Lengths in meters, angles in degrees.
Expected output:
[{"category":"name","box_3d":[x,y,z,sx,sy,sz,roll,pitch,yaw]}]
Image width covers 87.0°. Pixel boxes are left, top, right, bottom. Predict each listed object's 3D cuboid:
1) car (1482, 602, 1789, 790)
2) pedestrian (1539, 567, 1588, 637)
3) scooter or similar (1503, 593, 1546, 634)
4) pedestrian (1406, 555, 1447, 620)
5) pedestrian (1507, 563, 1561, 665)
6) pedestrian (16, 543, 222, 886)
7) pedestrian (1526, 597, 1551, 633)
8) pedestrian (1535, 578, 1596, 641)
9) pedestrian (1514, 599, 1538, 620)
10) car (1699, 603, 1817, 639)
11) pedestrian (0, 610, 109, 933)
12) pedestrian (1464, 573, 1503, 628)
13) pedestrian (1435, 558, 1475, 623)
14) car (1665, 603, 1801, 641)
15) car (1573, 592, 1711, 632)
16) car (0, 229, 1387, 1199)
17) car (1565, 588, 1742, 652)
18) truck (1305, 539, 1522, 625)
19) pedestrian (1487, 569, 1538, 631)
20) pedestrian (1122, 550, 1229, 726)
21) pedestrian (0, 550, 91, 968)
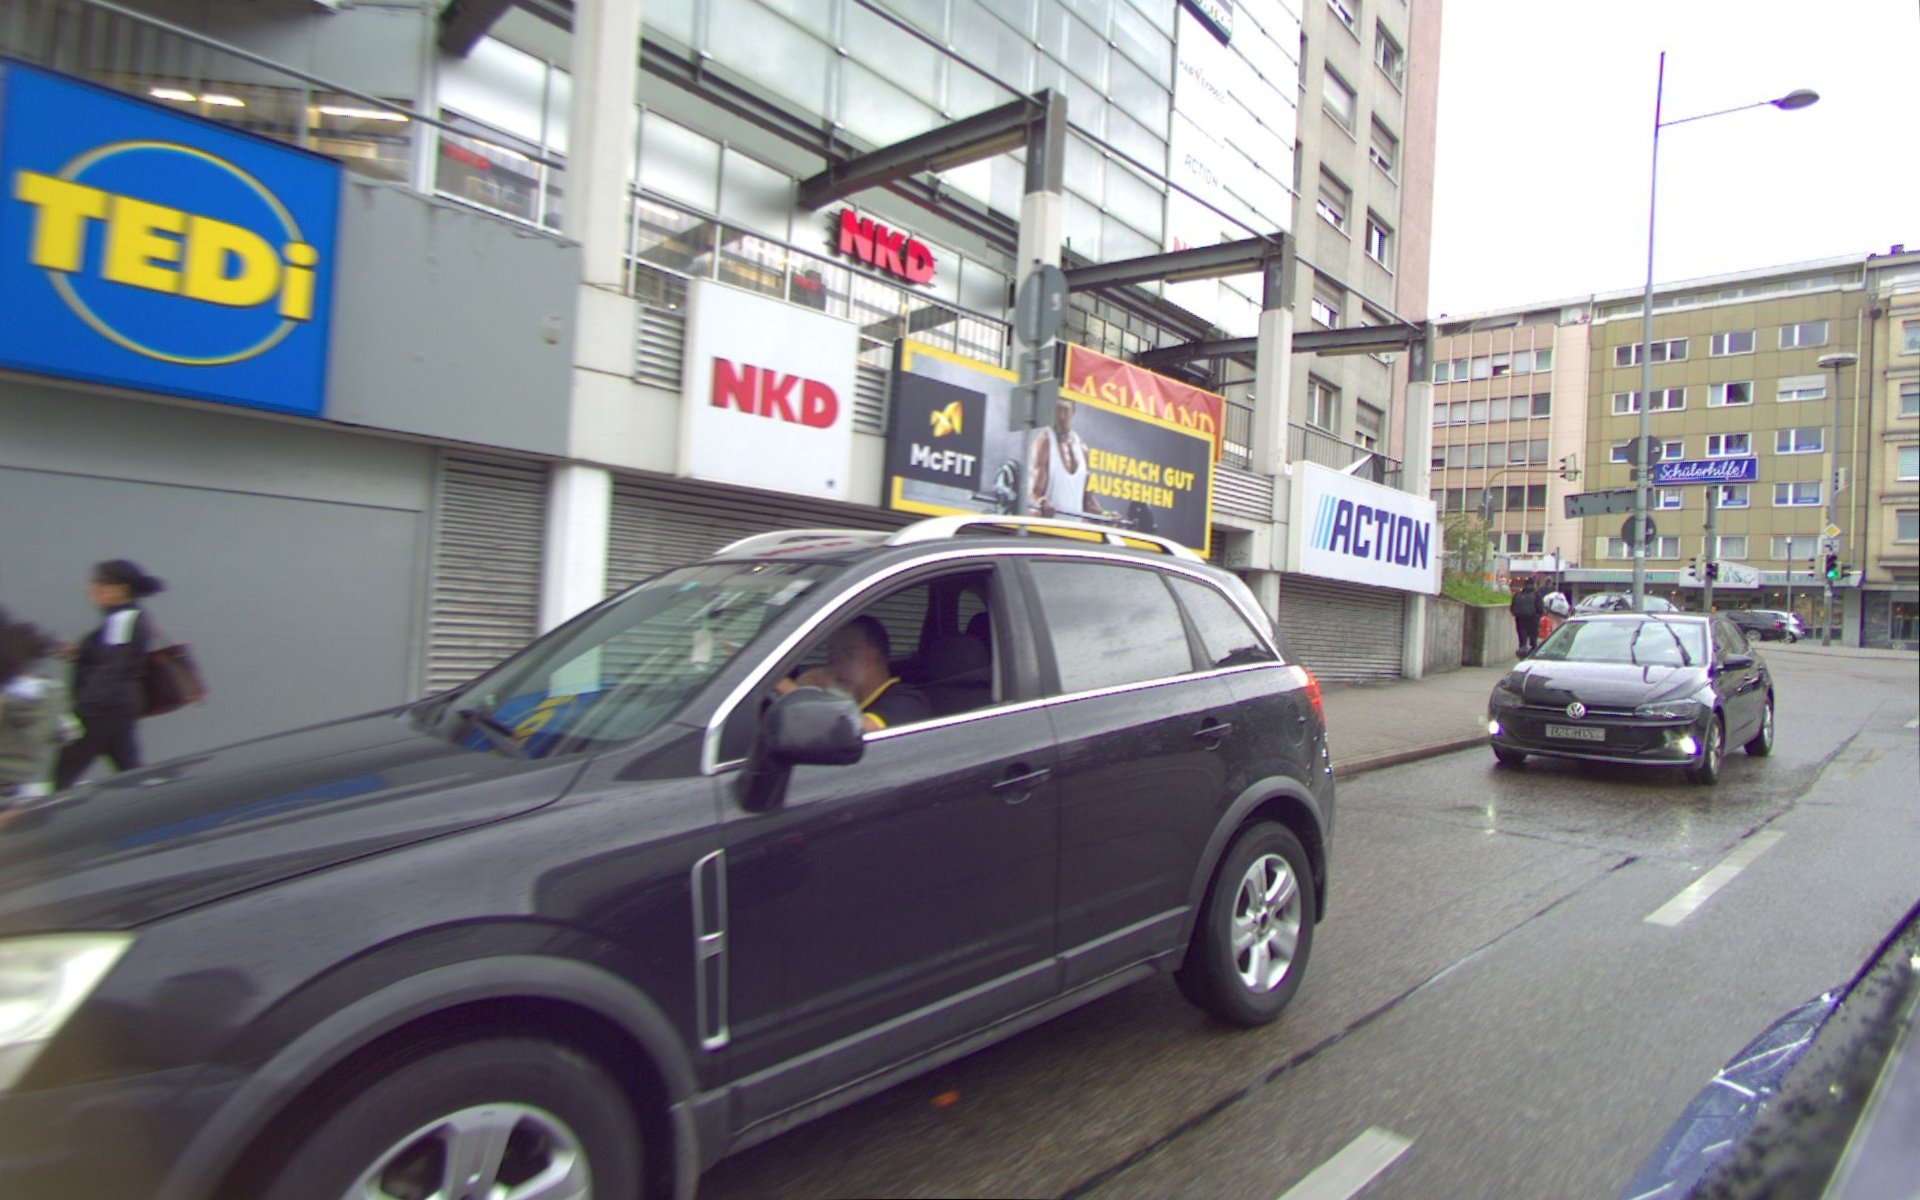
[{"category":"car","box_3d":[6.645,0.755,9.798,3.816,1.449,1.739,1,0,-44]},{"category":"pedestrian","box_3d":[17.343,0.055,29.078,0.605,1.889,0.789,7,2,-30]},{"category":"scooter or similar","box_3d":[17.048,0.398,30.565,0.953,1.123,0.656,6,-1,-27]},{"category":"pedestrian","box_3d":[14.719,-0.407,31.943,0.805,1.955,0.732,5,0,-38]},{"category":"pedestrian","box_3d":[10.808,0.261,19.047,0.599,1.863,0.996,3,0,44]},{"category":"pedestrian","box_3d":[-4.010,0.486,4.889,0.691,1.485,0.774,1,1,-37]},{"category":"pedestrian","box_3d":[17.140,0.452,29.983,0.256,1.012,0.473,8,-2,-23]},{"category":"pedestrian","box_3d":[16.144,0.241,27.018,1.045,1.550,1.022,5,3,16]},{"category":"pedestrian","box_3d":[17.084,0.274,30.549,0.364,0.578,0.459,6,-1,-27]},{"category":"car","box_3d":[38.962,0.991,49.502,4.386,1.570,1.824,2,1,43]},{"category":"pedestrian","box_3d":[-3.942,0.669,4.198,0.543,1.222,0.693,1,1,-35]},{"category":"pedestrian","box_3d":[17.047,0.018,32.971,0.836,1.656,0.532,8,0,44]},{"category":"pedestrian","box_3d":[15.455,-0.287,31.605,0.824,1.887,0.658,7,1,-42]},{"category":"car","box_3d":[34.851,0.956,45.722,1.966,1.443,4.625,-1,2,-42]},{"category":"car","box_3d":[28.992,0.510,43.101,4.617,1.433,1.769,3,0,43]},{"category":"car","box_3d":[-0.546,0.438,3.254,4.227,1.808,1.910,2,0,-42]},{"category":"car","box_3d":[19.430,0.499,28.610,1.835,1.566,4.109,2,1,-6]},{"category":"truck","box_3d":[25.371,-1.140,57.231,10.731,4.387,2.812,3,1,42]},{"category":"pedestrian","box_3d":[16.528,-0.009,30.288,1.018,1.744,0.839,5,-1,-29]},{"category":"pedestrian","box_3d":[2.228,0.363,10.503,0.606,1.744,0.838,1,1,-35]},{"category":"pedestrian","box_3d":[-3.699,0.549,3.783,0.586,1.455,0.749,1,2,-35]}]
